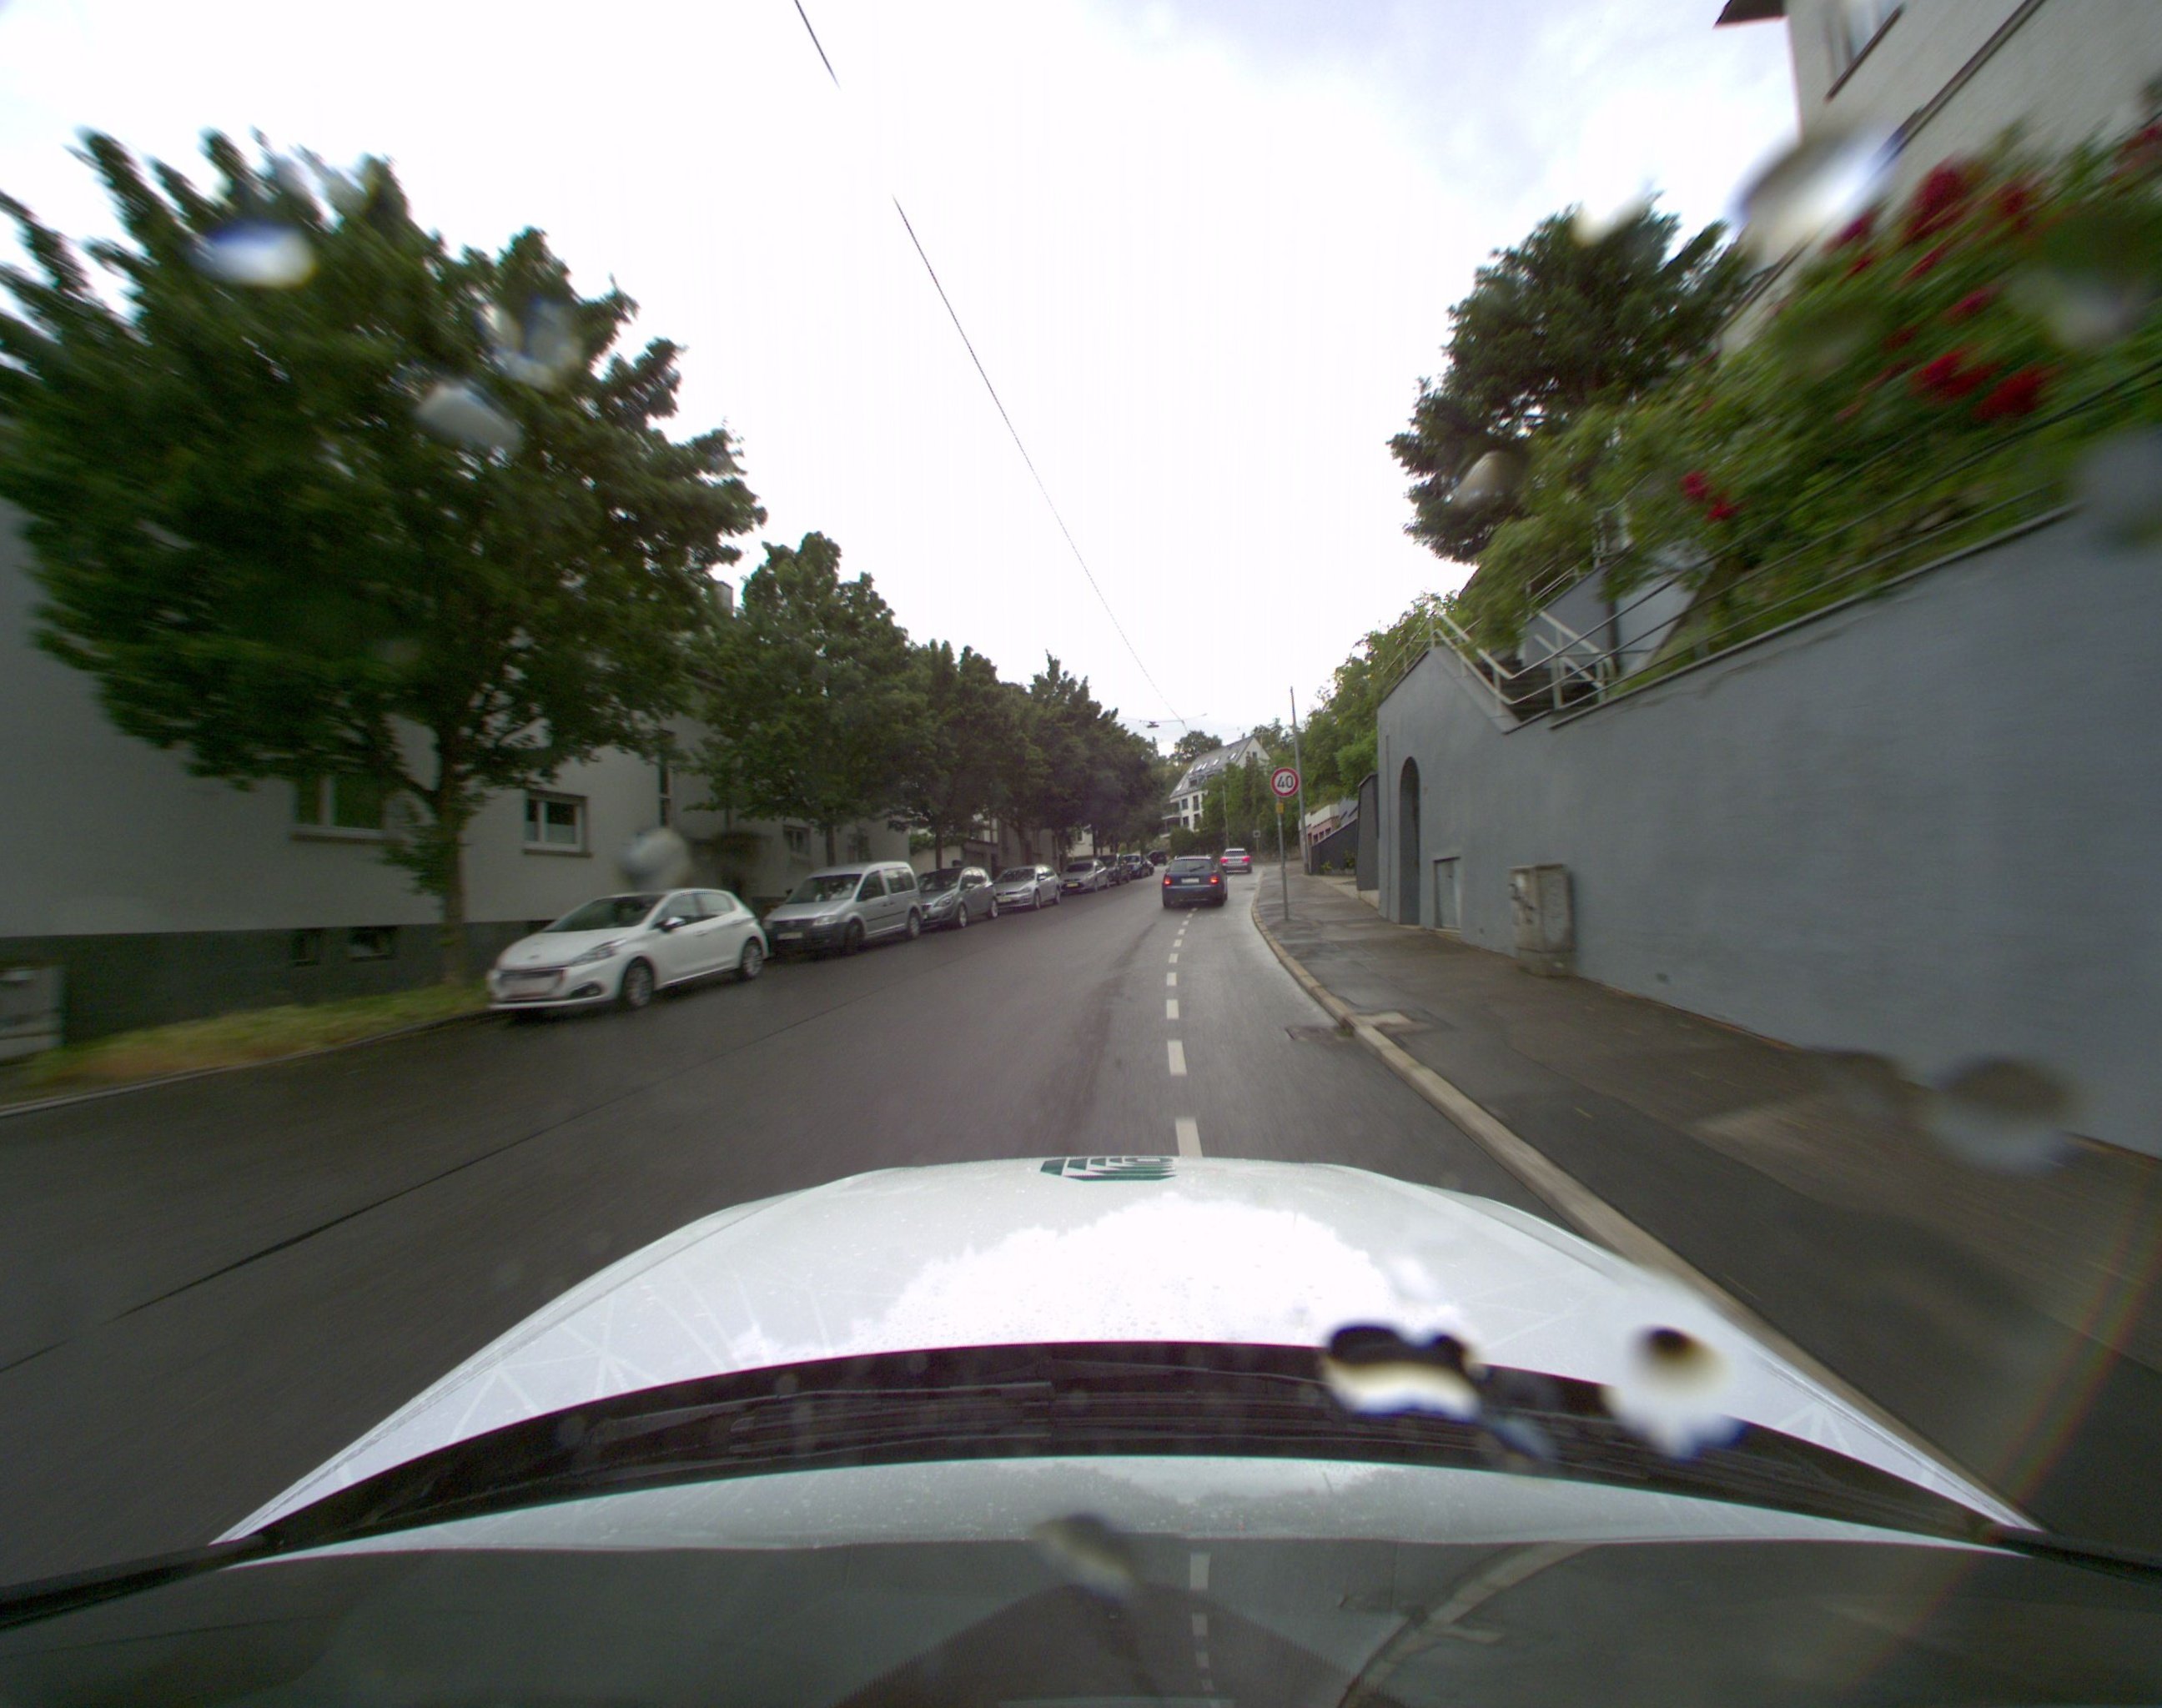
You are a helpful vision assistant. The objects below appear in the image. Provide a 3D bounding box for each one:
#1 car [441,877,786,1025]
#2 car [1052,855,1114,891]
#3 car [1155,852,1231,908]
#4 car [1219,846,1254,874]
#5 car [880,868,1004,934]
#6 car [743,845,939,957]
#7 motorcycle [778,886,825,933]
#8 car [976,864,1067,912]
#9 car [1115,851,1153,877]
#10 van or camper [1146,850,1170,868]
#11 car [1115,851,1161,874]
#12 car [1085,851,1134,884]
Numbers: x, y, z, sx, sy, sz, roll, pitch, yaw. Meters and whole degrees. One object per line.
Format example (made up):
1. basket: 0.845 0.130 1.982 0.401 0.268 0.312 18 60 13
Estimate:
1. car: -6.092 1.163 11.357 1.774 1.514 4.355 -6 -2 8
2. car: 0.183 0.871 38.173 1.792 1.552 4.816 -2 -1 13
3. car: 3.455 0.701 24.390 1.841 1.414 4.376 -3 0 12
4. car: 9.216 0.323 48.162 1.937 1.561 4.277 0 1 12
5. car: -3.636 1.202 22.169 1.793 1.485 4.249 -5 -2 11
6. car: -4.801 0.907 17.106 1.901 2.001 4.564 -2 -1 13
7. motorcycle: -7.405 1.440 21.621 0.408 1.098 1.624 -4 0 9
8. car: -1.915 1.114 27.696 1.792 1.453 4.612 -2 -1 12
9. car: 3.398 0.621 51.569 1.700 1.462 3.896 -2 1 14
10. van or camper: 9.333 0.575 99.010 1.993 2.014 3.987 -1 -2 -9
11. car: 3.895 0.596 56.322 1.996 1.391 4.178 -3 -1 -13
12. car: 1.614 0.707 44.289 1.792 1.627 4.154 -2 0 13
